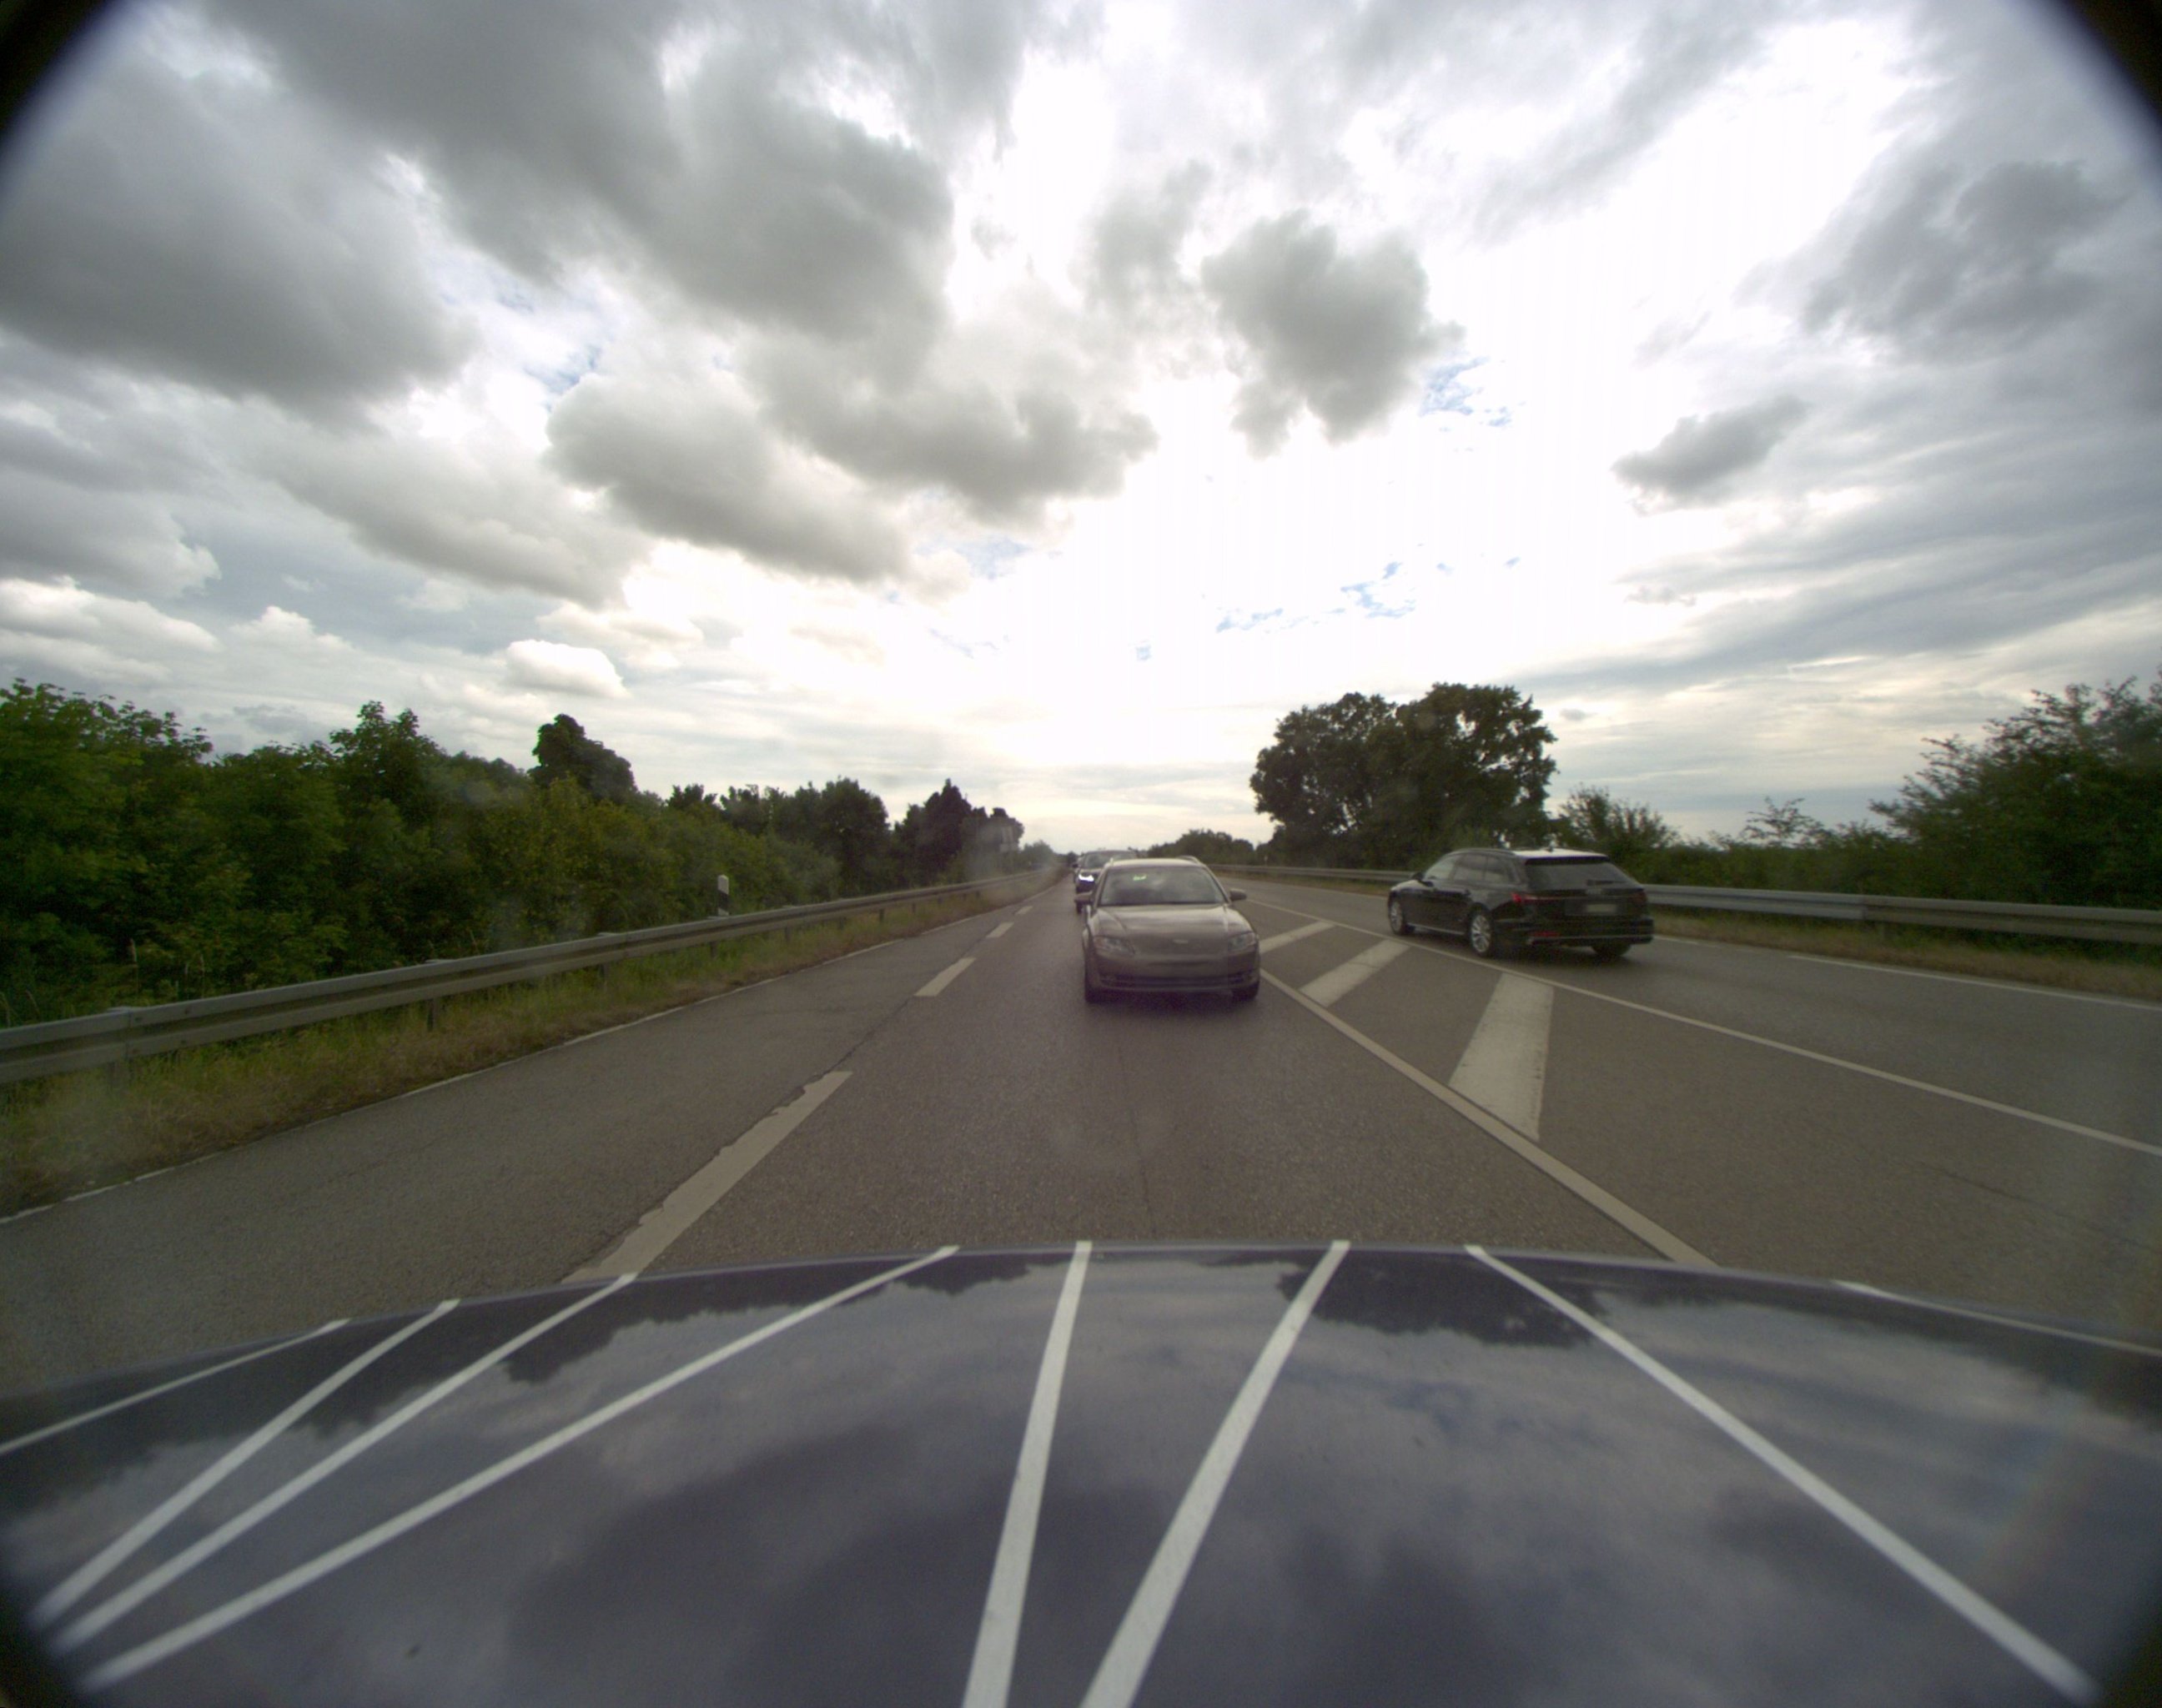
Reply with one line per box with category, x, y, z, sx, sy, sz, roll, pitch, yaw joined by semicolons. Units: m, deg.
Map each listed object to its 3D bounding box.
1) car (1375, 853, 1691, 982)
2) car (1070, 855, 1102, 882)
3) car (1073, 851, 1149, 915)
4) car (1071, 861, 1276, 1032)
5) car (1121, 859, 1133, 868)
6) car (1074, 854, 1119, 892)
car;5.972;0.710;10.847;1.825;1.366;4.611;-1;1;1
car;0.320;0.868;47.458;1.834;1.537;4.035;-1;0;1
car;0.763;0.731;20.789;1.834;1.537;4.035;-1;0;1
car;0.849;0.838;8.752;1.784;1.442;4.035;-1;0;1
car;8.141;1.722;134.715;1.675;1.421;4.257;-1;0;0
car;0.689;0.785;33.679;1.834;1.537;4.035;-1;0;1
